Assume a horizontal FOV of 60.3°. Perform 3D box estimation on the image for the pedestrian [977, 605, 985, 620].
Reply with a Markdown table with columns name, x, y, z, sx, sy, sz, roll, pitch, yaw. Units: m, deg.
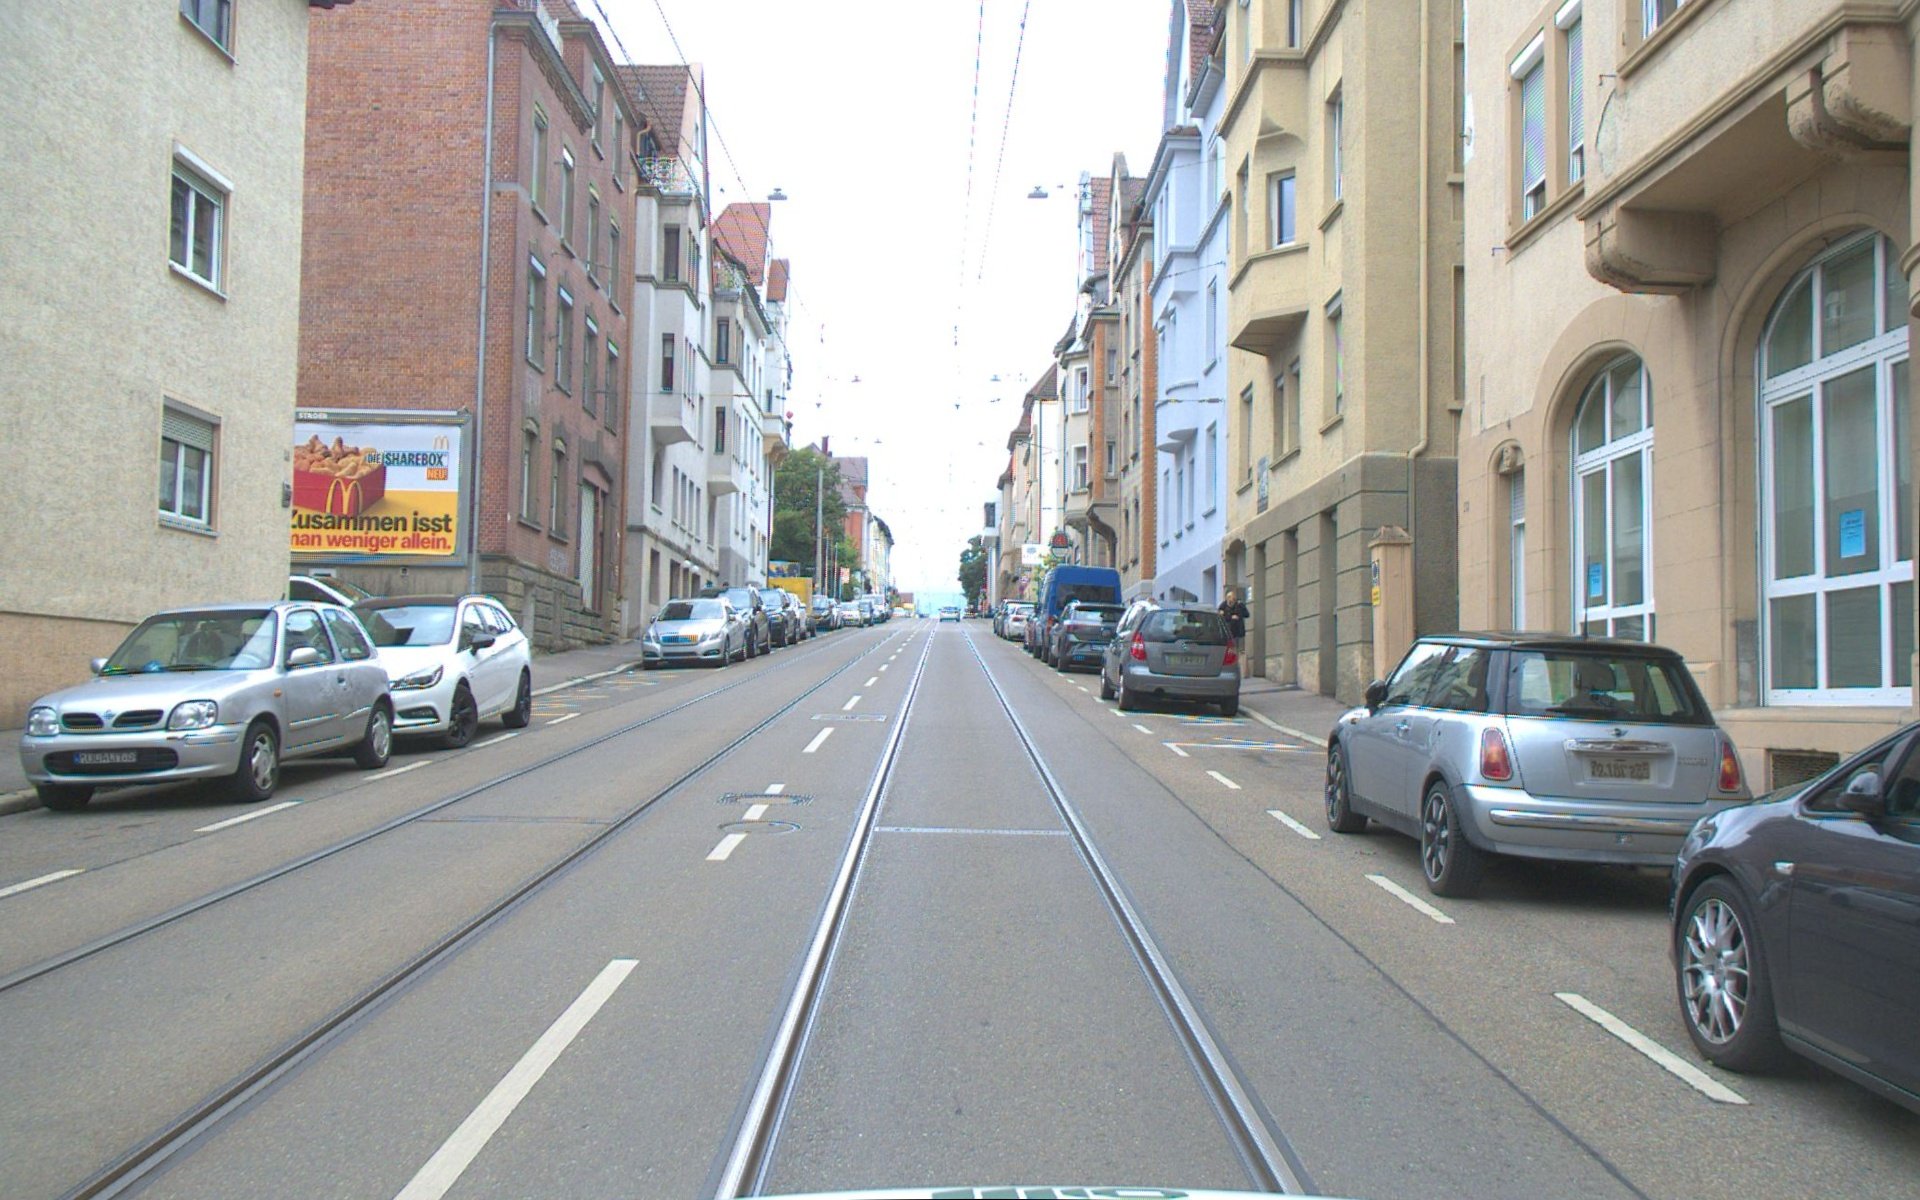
| name | x | y | z | sx | sy | sz | roll | pitch | yaw |
| --- | --- | --- | --- | --- | --- | --- | --- | --- | --- |
| pedestrian | 2.361 | 1.406 | 186.789 | 0.775 | 1.696 | 0.799 | 1 | -1 | 2 |

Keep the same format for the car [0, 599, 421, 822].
| name | x | y | z | sx | sy | sz | roll | pitch | yaw |
| --- | --- | --- | --- | --- | --- | --- | --- | --- | --- |
| car | -5.649 | 0.734 | 12.910 | 1.568 | 1.392 | 3.807 | -3 | 0 | 0 |

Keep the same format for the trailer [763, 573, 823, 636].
| name | x | y | z | sx | sy | sz | roll | pitch | yaw |
| --- | --- | --- | --- | --- | --- | --- | --- | --- | --- |
| trailer | -6.091 | 0.134 | 60.660 | 1.713 | 2.193 | 4.071 | -1 | 0 | 0 |

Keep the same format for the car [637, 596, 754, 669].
| name | x | y | z | sx | sy | sz | roll | pitch | yaw |
| --- | --- | --- | --- | --- | --- | --- | --- | --- | --- |
| car | -5.779 | 0.668 | 36.729 | 1.790 | 1.454 | 4.839 | -1 | 0 | 0 |

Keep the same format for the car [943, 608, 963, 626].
| name | x | y | z | sx | sy | sz | roll | pitch | yaw |
| --- | --- | --- | --- | --- | --- | --- | --- | --- | --- |
| car | -0.657 | 1.507 | 148.736 | 1.638 | 1.539 | 3.796 | 1 | 0 | -2 |

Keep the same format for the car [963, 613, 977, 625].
| name | x | y | z | sx | sy | sz | roll | pitch | yaw |
| --- | --- | --- | --- | --- | --- | --- | --- | --- | --- |
| car | 1.337 | 2.525 | 222.785 | 1.953 | 1.590 | 4.289 | 1 | 0 | 0 |

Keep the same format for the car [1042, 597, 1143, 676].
| name | x | y | z | sx | sy | sz | roll | pitch | yaw |
| --- | --- | --- | --- | --- | --- | --- | --- | --- | --- |
| car | 2.936 | 0.788 | 37.372 | 1.744 | 1.557 | 4.191 | 4 | 0 | -1 |

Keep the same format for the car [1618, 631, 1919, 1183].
| name | x | y | z | sx | sy | sz | roll | pitch | yaw |
| --- | --- | --- | --- | --- | --- | --- | --- | --- | --- |
| car | 3.440 | 0.854 | 4.198 | 1.802 | 1.427 | 4.166 | 3 | -1 | -1 |

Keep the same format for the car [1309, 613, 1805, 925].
| name | x | y | z | sx | sy | sz | roll | pitch | yaw |
| --- | --- | --- | --- | --- | --- | --- | --- | --- | --- |
| car | 3.399 | 0.866 | 10.167 | 1.660 | 1.428 | 3.667 | 3 | 0 | 0 |

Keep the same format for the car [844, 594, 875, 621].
| name | x | y | z | sx | sy | sz | roll | pitch | yaw |
| --- | --- | --- | --- | --- | --- | --- | --- | --- | --- |
| car | -6.738 | 0.501 | 111.597 | 1.708 | 1.766 | 4.519 | -1 | 0 | 1 |

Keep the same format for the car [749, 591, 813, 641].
| name | x | y | z | sx | sy | sz | roll | pitch | yaw |
| --- | --- | --- | --- | --- | --- | --- | --- | --- | --- |
| car | -6.071 | 0.513 | 56.495 | 1.662 | 1.621 | 4.268 | -1 | 0 | 0 |

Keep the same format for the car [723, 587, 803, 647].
| name | x | y | z | sx | sy | sz | roll | pitch | yaw |
| --- | --- | --- | --- | --- | --- | --- | --- | --- | --- |
| car | -5.935 | 0.481 | 50.357 | 1.835 | 1.693 | 4.891 | -1 | 0 | 0 |

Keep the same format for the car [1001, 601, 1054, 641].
| name | x | y | z | sx | sy | sz | roll | pitch | yaw |
| --- | --- | --- | --- | --- | --- | --- | --- | --- | --- |
| car | 2.604 | 0.802 | 64.814 | 1.715 | 1.415 | 4.306 | 3 | 0 | -2 |

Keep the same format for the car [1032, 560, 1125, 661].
| name | x | y | z | sx | sy | sz | roll | pitch | yaw |
| --- | --- | --- | --- | --- | --- | --- | --- | --- | --- |
| car | 2.997 | 0.290 | 42.932 | 1.953 | 2.418 | 5.055 | 1 | -1 | -1 |

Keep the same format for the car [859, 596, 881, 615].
| name | x | y | z | sx | sy | sz | roll | pitch | yaw |
| --- | --- | --- | --- | --- | --- | --- | --- | --- | --- |
| car | -7.041 | 0.443 | 129.810 | 1.663 | 1.458 | 4.479 | -1 | 0 | -2 |

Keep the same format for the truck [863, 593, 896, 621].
| name | x | y | z | sx | sy | sz | roll | pitch | yaw |
| --- | --- | --- | --- | --- | --- | --- | --- | --- | --- |
| truck | -6.648 | 0.583 | 137.470 | 2.233 | 2.226 | 8.025 | 1 | 0 | 1 |

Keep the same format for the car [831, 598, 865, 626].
| name | x | y | z | sx | sy | sz | roll | pitch | yaw |
| --- | --- | --- | --- | --- | --- | --- | --- | --- | --- |
| car | -6.760 | 0.729 | 99.994 | 1.662 | 1.583 | 3.850 | 1 | 0 | 1 |

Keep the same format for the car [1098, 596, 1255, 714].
| name | x | y | z | sx | sy | sz | roll | pitch | yaw |
| --- | --- | --- | --- | --- | --- | --- | --- | --- | --- |
| car | 3.218 | 0.770 | 25.306 | 1.790 | 1.545 | 4.027 | 3 | 0 | 0 |

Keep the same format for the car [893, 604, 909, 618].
| name | x | y | z | sx | sy | sz | roll | pitch | yaw |
| --- | --- | --- | --- | --- | --- | --- | --- | --- | --- |
| car | -7.325 | 1.378 | 204.304 | 1.817 | 1.635 | 4.296 | 1 | 0 | -1 |

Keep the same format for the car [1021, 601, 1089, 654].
| name | x | y | z | sx | sy | sz | roll | pitch | yaw |
| --- | --- | --- | --- | --- | --- | --- | --- | --- | --- |
| car | 2.930 | 0.828 | 51.860 | 1.744 | 1.501 | 4.589 | 3 | 0 | -1 |

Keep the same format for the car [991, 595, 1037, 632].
| name | x | y | z | sx | sy | sz | roll | pitch | yaw |
| --- | --- | --- | --- | --- | --- | --- | --- | --- | --- |
| car | 2.454 | 0.610 | 76.353 | 1.700 | 1.564 | 4.571 | 3 | 0 | -3 |

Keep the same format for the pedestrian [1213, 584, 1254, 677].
| name | x | y | z | sx | sy | sz | roll | pitch | yaw |
| --- | --- | --- | --- | --- | --- | --- | --- | --- | --- |
| pedestrian | 5.183 | 0.582 | 31.369 | 0.530 | 1.711 | 0.515 | -3 | -3 | -9 |

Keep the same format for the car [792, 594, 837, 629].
| name | x | y | z | sx | sy | sz | roll | pitch | yaw |
| --- | --- | --- | --- | --- | --- | --- | --- | --- | --- |
| car | -6.334 | 0.494 | 72.217 | 1.662 | 1.494 | 3.023 | -1 | 0 | 0 |

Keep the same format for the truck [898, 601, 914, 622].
| name | x | y | z | sx | sy | sz | roll | pitch | yaw |
| --- | --- | --- | --- | --- | --- | --- | --- | --- | --- |
| truck | -8.421 | 1.848 | 257.543 | 2.255 | 3.090 | 9.031 | 1 | -1 | -1 |

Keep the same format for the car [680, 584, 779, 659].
| name | x | y | z | sx | sy | sz | roll | pitch | yaw |
| --- | --- | --- | --- | --- | --- | --- | --- | --- | --- |
| car | -5.805 | 0.501 | 42.141 | 1.790 | 1.748 | 4.913 | -1 | 0 | 0 |

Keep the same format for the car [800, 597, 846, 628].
| name | x | y | z | sx | sy | sz | roll | pitch | yaw |
| --- | --- | --- | --- | --- | --- | --- | --- | --- | --- |
| car | -6.399 | 0.561 | 77.539 | 1.743 | 1.381 | 4.292 | 1 | 0 | 1 |

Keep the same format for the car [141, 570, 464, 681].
| name | x | y | z | sx | sy | sz | roll | pitch | yaw |
| --- | --- | --- | --- | --- | --- | --- | --- | --- | --- |
| car | -11.881 | 0.439 | 30.175 | 5.072 | 1.850 | 1.939 | -1 | 0 | -5 |

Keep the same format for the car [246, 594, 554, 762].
| name | x | y | z | sx | sy | sz | roll | pitch | yaw |
| --- | --- | --- | --- | --- | --- | --- | --- | --- | --- |
| car | -5.684 | 0.700 | 17.434 | 1.791 | 1.454 | 4.625 | -3 | 0 | -3 |
